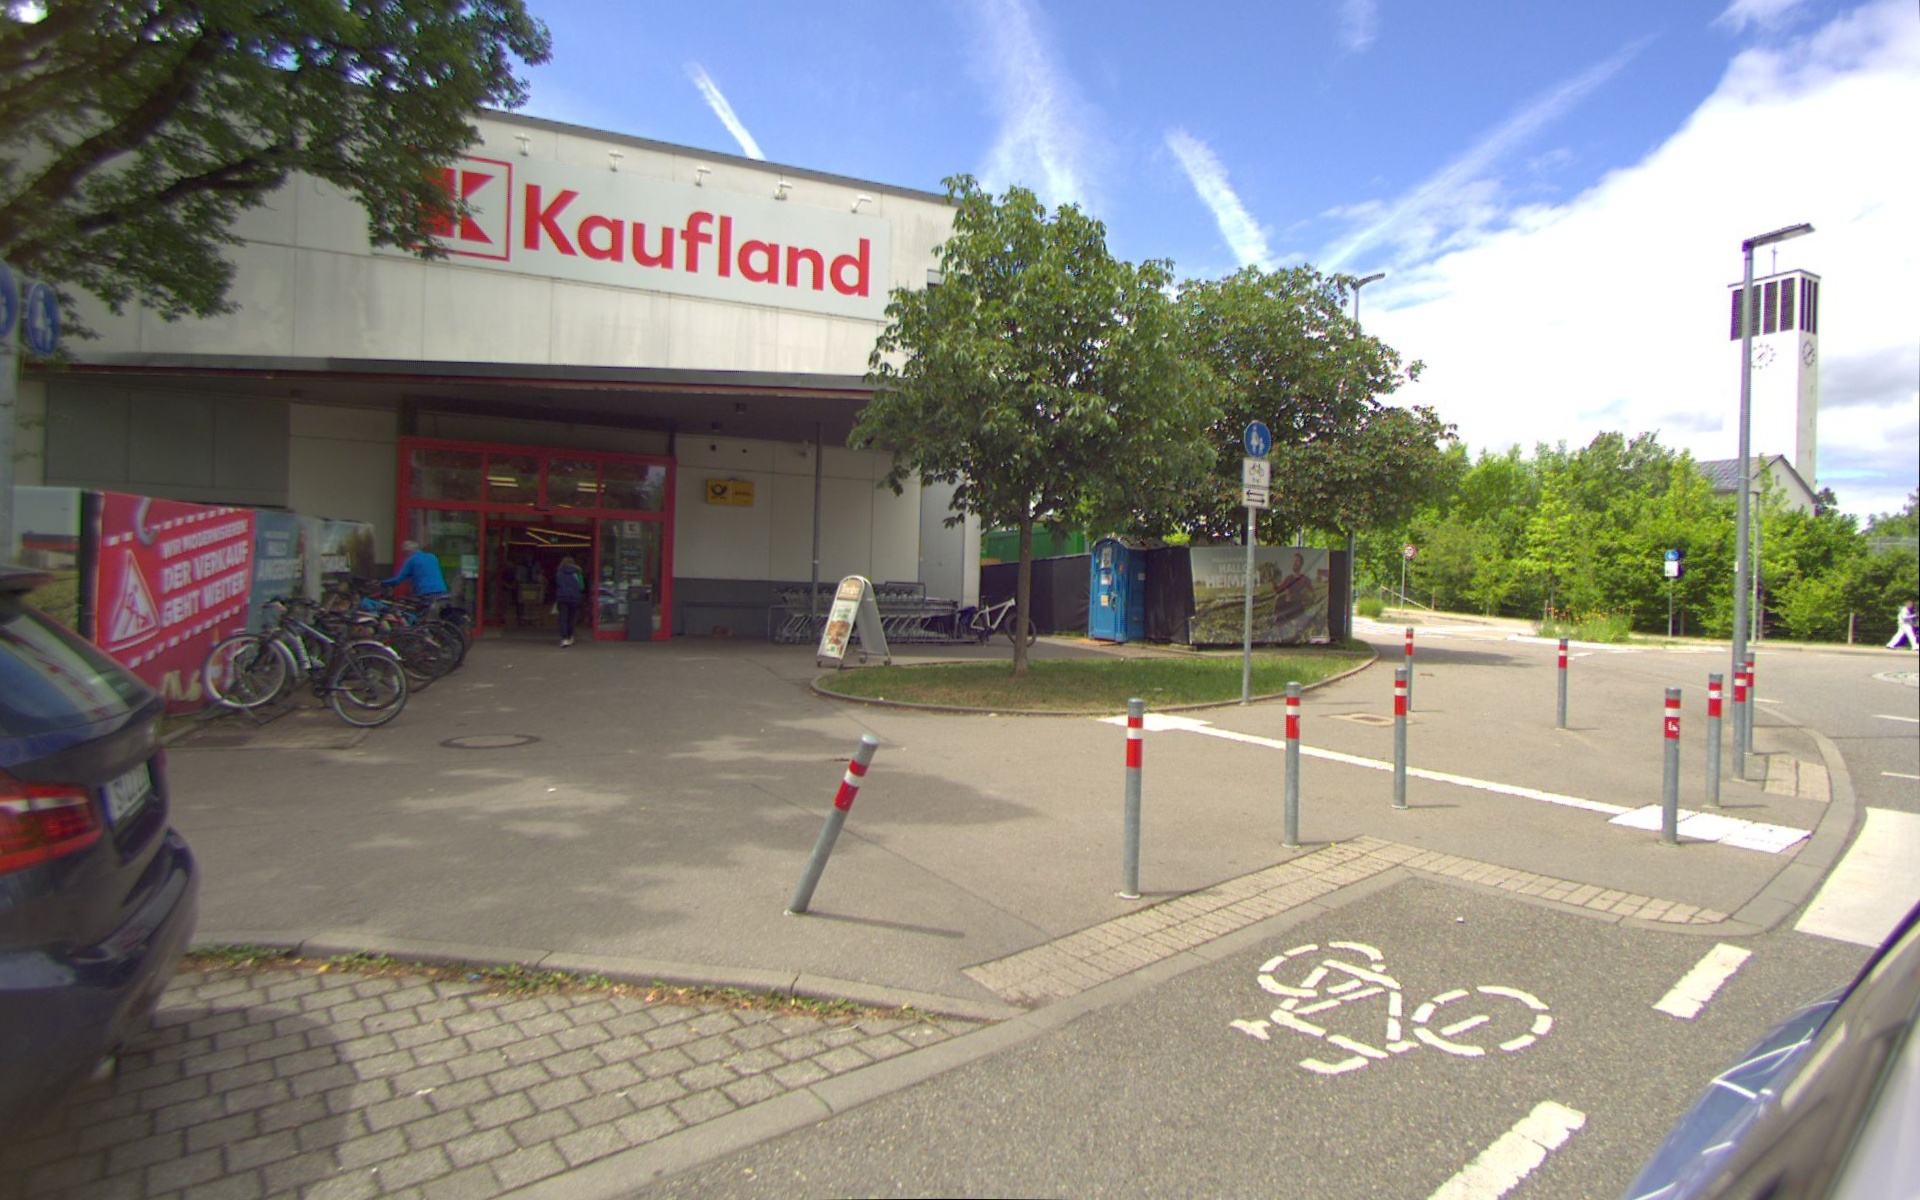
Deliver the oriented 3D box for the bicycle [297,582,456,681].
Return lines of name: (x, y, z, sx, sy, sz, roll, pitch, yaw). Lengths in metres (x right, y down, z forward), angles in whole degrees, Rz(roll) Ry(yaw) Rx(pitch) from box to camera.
bicycle: (-7.125, 0.376, 12.417, 1.626, 1.170, 0.427, 0, 0, -19)

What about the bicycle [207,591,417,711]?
bicycle: (-6.491, 0.502, 10.185, 1.737, 1.170, 0.502, 0, 0, -5)

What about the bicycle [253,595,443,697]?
bicycle: (-6.767, 0.489, 11.285, 1.764, 1.053, 0.522, 0, 1, -26)

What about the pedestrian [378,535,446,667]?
pedestrian: (-7.578, -0.005, 14.018, 0.732, 1.778, 0.626, 0, 3, -20)

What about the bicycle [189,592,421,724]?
bicycle: (-5.997, 0.518, 9.324, 1.754, 1.170, 0.452, 0, 0, -9)

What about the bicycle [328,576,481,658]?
bicycle: (-8.092, 0.243, 14.815, 1.873, 1.170, 0.531, 0, 0, -16)

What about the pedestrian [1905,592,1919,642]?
pedestrian: (30.397, 0.548, 31.885, 0.943, 1.553, 0.459, 1, 0, -13)

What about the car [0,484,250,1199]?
car: (-3.993, 0.532, 1.791, 4.342, 1.597, 1.925, 0, 2, -31)

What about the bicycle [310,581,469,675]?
bicycle: (-7.328, 0.348, 13.068, 1.730, 1.170, 0.441, 0, 0, -21)

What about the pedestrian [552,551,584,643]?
pedestrian: (-6.884, -0.053, 17.793, 0.485, 1.586, 0.628, 1, 1, -18)

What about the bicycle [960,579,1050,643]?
bicycle: (0.908, 0.212, 20.698, 1.762, 1.249, 0.706, 1, 0, 36)
